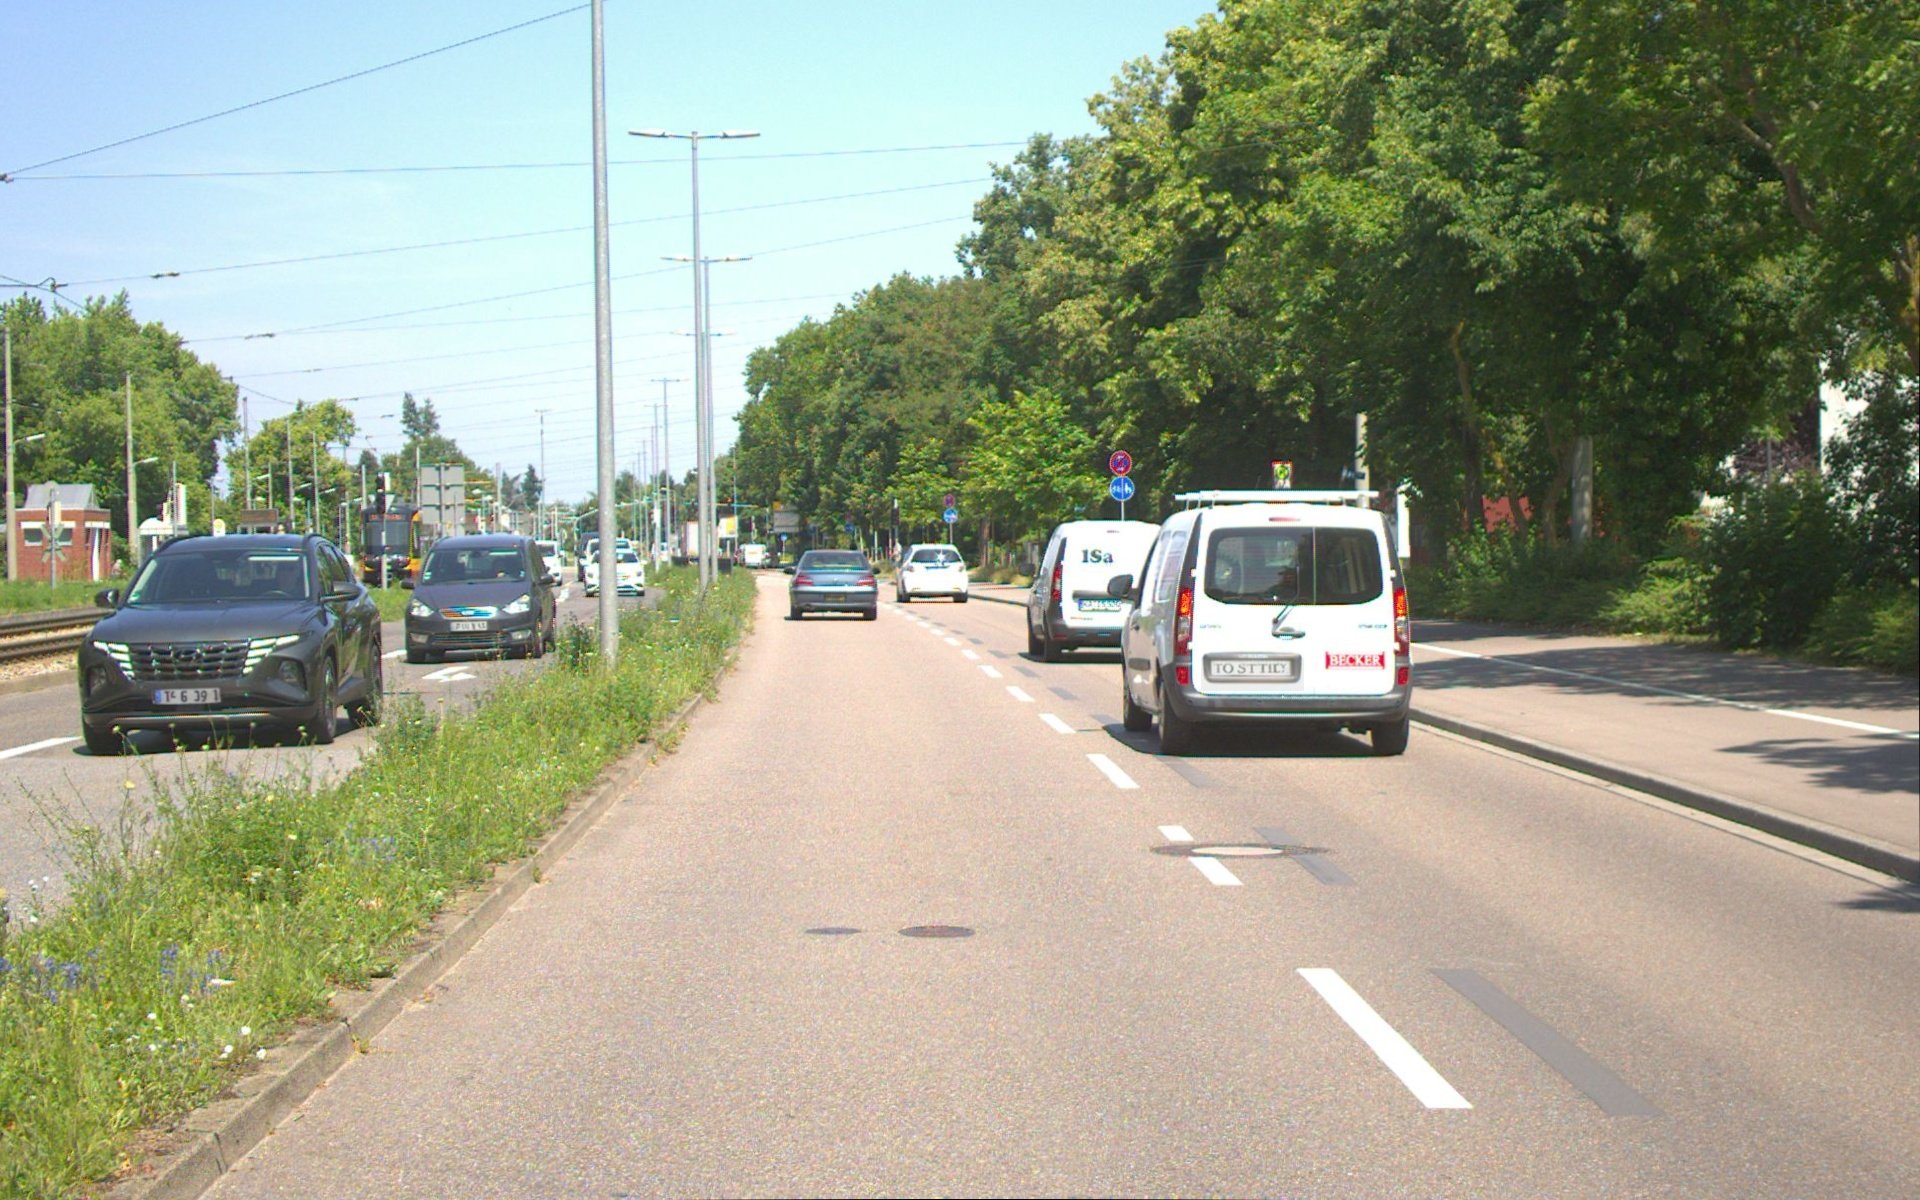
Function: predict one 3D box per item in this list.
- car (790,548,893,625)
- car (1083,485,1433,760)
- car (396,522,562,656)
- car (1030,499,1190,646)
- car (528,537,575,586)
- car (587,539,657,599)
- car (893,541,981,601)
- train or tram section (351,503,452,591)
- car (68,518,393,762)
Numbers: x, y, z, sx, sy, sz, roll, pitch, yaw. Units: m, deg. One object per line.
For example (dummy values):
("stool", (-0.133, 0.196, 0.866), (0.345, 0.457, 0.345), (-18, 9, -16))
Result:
("car", (-2.389, -0.283, 68.670), (1.801, 1.481, 4.001), (0, 1, -5))
("car", (2.127, 0.128, 25.794), (1.824, 1.875, 4.457), (0, 1, -5))
("car", (-6.682, -0.191, 48.213), (1.829, 1.707, 4.794), (-2, 1, -3))
("car", (1.900, -0.388, 44.688), (1.727, 1.807, 4.001), (0, 1, -2))
("car", (-17.771, -1.677, 149.660), (1.888, 2.010, 5.084), (-3, 1, -6))
("car", (-10.347, -0.964, 105.557), (1.830, 1.733, 4.038), (-2, 1, -2))
("car", (-0.622, -0.766, 89.706), (1.803, 1.534, 4.001), (0, 1, -7))
("train or tram section", (-26.225, -2.454, 163.139), (2.787, 3.655, 37.526), (0, 1, -6))
("car", (-5.805, 0.256, 27.880), (1.829, 1.750, 4.489), (-2, 1, -3))
